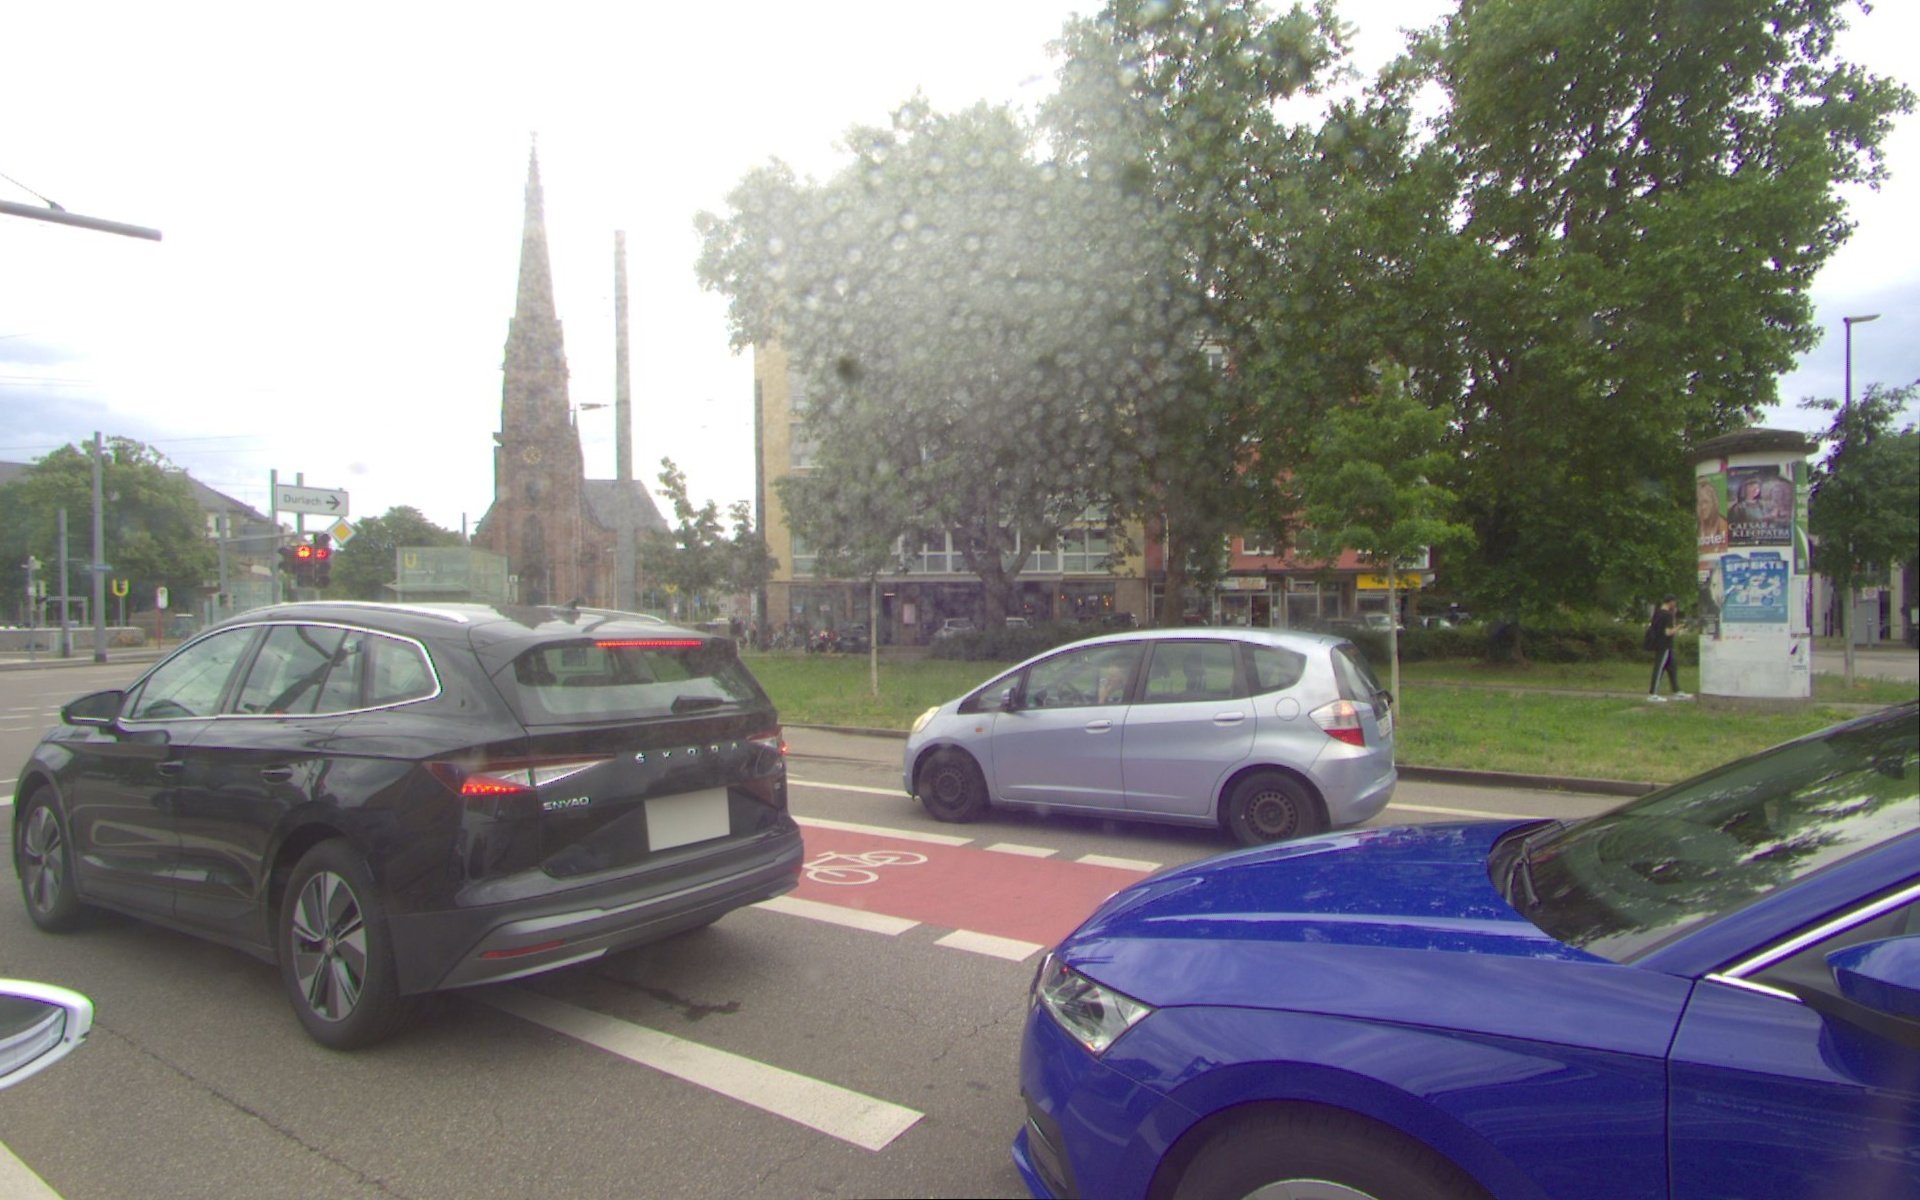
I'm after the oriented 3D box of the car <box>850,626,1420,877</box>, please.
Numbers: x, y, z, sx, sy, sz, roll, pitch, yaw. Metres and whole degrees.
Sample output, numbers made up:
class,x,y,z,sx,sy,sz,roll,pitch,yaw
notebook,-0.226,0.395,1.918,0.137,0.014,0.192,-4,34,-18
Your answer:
class,x,y,z,sx,sy,sz,roll,pitch,yaw
car,1.272,0.952,7.806,4.039,1.486,1.746,-1,-1,32

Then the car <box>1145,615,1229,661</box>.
class,x,y,z,sx,sy,sz,roll,pitch,yaw
car,8.234,1.342,36.676,1.825,1.568,4.476,0,-1,-3

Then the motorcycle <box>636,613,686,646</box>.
class,x,y,z,sx,sy,sz,roll,pitch,yaw
motorcycle,-11.116,1.092,37.335,0.753,1.183,2.385,0,-1,12

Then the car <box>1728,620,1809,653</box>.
class,x,y,z,sx,sy,sz,roll,pitch,yaw
car,43.527,1.951,54.023,1.828,1.644,4.469,-2,-1,17

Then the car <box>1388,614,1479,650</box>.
class,x,y,z,sx,sy,sz,roll,pitch,yaw
car,21.975,1.474,46.684,1.825,1.568,4.476,0,-1,-5

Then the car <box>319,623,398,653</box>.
class,x,y,z,sx,sy,sz,roll,pitch,yaw
car,-32.284,2.031,53.862,1.740,1.483,4.001,-2,-1,1

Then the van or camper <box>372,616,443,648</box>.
class,x,y,z,sx,sy,sz,roll,pitch,yaw
van or camper,-33.023,1.896,60.003,1.961,1.764,4.305,-2,-1,-3

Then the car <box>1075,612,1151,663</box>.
class,x,y,z,sx,sy,sz,roll,pitch,yaw
car,5.499,1.325,36.477,1.825,1.745,4.476,0,-1,-3

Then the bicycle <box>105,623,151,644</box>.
class,x,y,z,sx,sy,sz,roll,pitch,yaw
bicycle,-55.435,2.237,66.740,0.699,1.348,2.252,-2,-1,39

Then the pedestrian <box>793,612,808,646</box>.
class,x,y,z,sx,sy,sz,roll,pitch,yaw
pedestrian,-7.888,1.438,49.543,0.625,1.659,0.872,0,0,0

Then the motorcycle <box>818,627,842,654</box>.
class,x,y,z,sx,sy,sz,roll,pitch,yaw
motorcycle,-5.108,1.587,39.426,0.857,1.010,1.014,0,-1,-12

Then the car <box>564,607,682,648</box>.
class,x,y,z,sx,sy,sz,roll,pitch,yaw
car,-18.099,1.484,53.943,5.674,2.039,2.011,-1,-1,-40

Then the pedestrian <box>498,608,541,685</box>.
class,x,y,z,sx,sy,sz,roll,pitch,yaw
pedestrian,-11.434,1.200,26.020,0.874,1.956,1.016,0,0,-16

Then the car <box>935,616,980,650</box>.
class,x,y,z,sx,sy,sz,roll,pitch,yaw
car,-0.149,1.497,46.153,1.825,1.509,4.476,0,-1,-3

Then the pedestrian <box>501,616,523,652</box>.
class,x,y,z,sx,sy,sz,roll,pitch,yaw
pedestrian,-20.766,1.590,46.435,0.625,1.659,0.872,0,0,-1

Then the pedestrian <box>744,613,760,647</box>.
class,x,y,z,sx,sy,sz,roll,pitch,yaw
pedestrian,-10.222,1.490,49.186,0.625,1.659,0.872,0,0,0

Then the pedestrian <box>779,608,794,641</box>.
class,x,y,z,sx,sy,sz,roll,pitch,yaw
pedestrian,-8.746,1.249,50.472,0.625,1.659,0.872,0,0,-1

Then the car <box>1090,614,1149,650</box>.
class,x,y,z,sx,sy,sz,roll,pitch,yaw
car,7.380,1.462,46.697,1.825,1.568,4.476,0,-1,-3

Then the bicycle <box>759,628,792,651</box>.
class,x,y,z,sx,sy,sz,roll,pitch,yaw
bicycle,-7.449,1.599,40.458,1.240,0.929,0.595,0,0,2

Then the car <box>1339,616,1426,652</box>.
class,x,y,z,sx,sy,sz,roll,pitch,yaw
car,19.508,1.537,46.449,1.825,1.568,4.476,0,-1,-5

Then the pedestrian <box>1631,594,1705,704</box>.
class,x,y,z,sx,sy,sz,roll,pitch,yaw
pedestrian,12.270,0.829,17.367,0.968,1.868,0.536,0,0,-11

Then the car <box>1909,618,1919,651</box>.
class,x,y,z,sx,sy,sz,roll,pitch,yaw
car,46.504,1.599,46.347,1.865,1.568,4.469,-2,-1,17

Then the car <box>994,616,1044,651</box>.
class,x,y,z,sx,sy,sz,roll,pitch,yaw
car,2.668,1.507,46.201,1.825,1.509,4.476,0,-1,-3

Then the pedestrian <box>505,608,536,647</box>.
class,x,y,z,sx,sy,sz,roll,pitch,yaw
pedestrian,-21.177,1.340,48.312,1.066,1.820,0.947,-1,-1,-3

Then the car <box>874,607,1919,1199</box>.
class,x,y,z,sx,sy,sz,roll,pitch,yaw
car,2.149,0.762,1.680,4.402,1.508,1.776,-1,-1,32

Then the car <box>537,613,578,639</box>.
class,x,y,z,sx,sy,sz,roll,pitch,yaw
car,-32.560,2.061,81.046,1.961,2.040,4.000,0,-1,-5

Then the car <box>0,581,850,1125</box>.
class,x,y,z,sx,sy,sz,roll,pitch,yaw
car,-2.842,0.794,4.903,4.444,1.617,1.774,-1,-1,31
